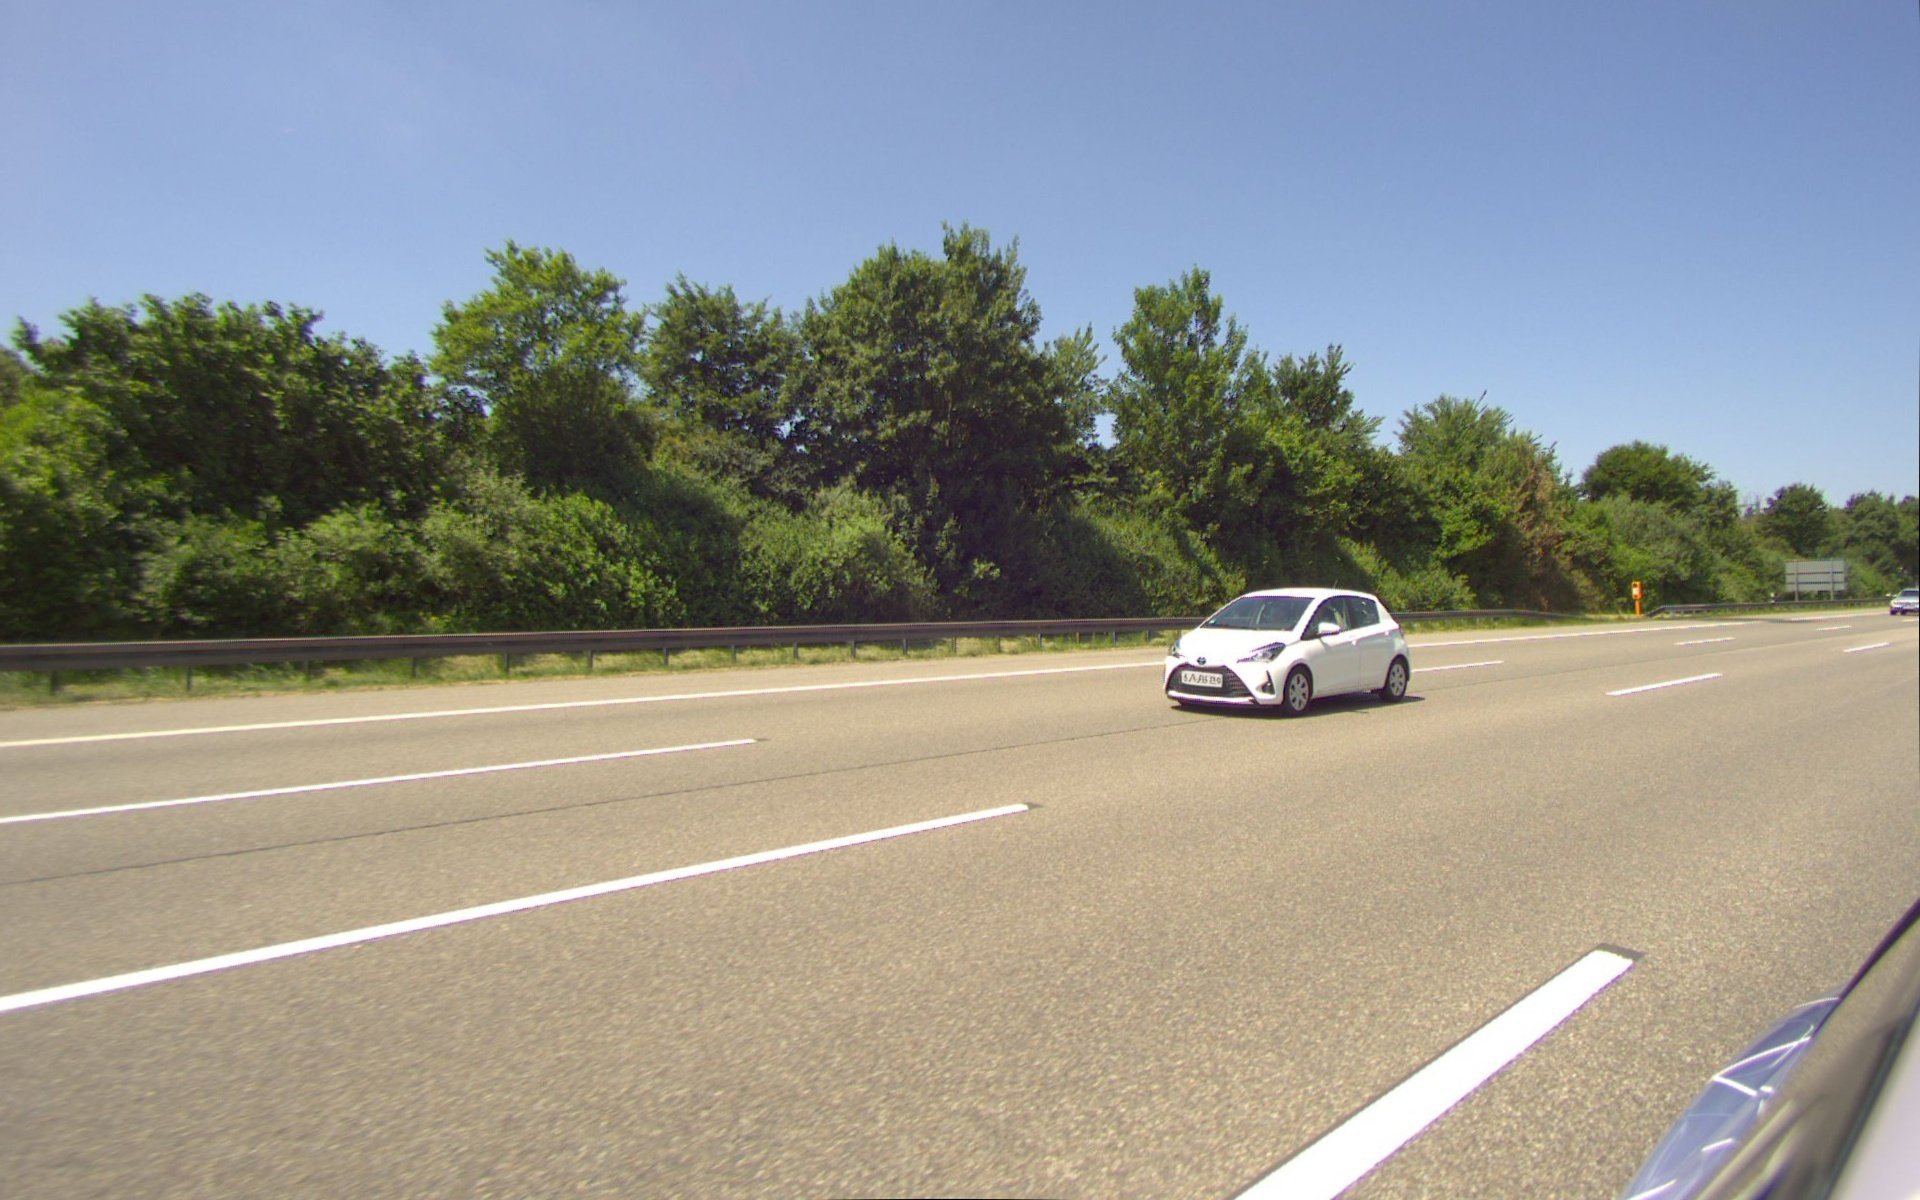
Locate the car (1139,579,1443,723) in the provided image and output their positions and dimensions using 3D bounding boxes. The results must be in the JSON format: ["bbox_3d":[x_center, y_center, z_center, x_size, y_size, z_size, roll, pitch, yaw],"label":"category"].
[{"bbox_3d":[4.438,0.527,13.226,4.405,1.538,1.753,-2,1,-40],"label":"car"}]

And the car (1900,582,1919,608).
[{"bbox_3d":[58.812,-0.316,61.448,3.928,1.549,1.998,-1,1,-39],"label":"car"}]
